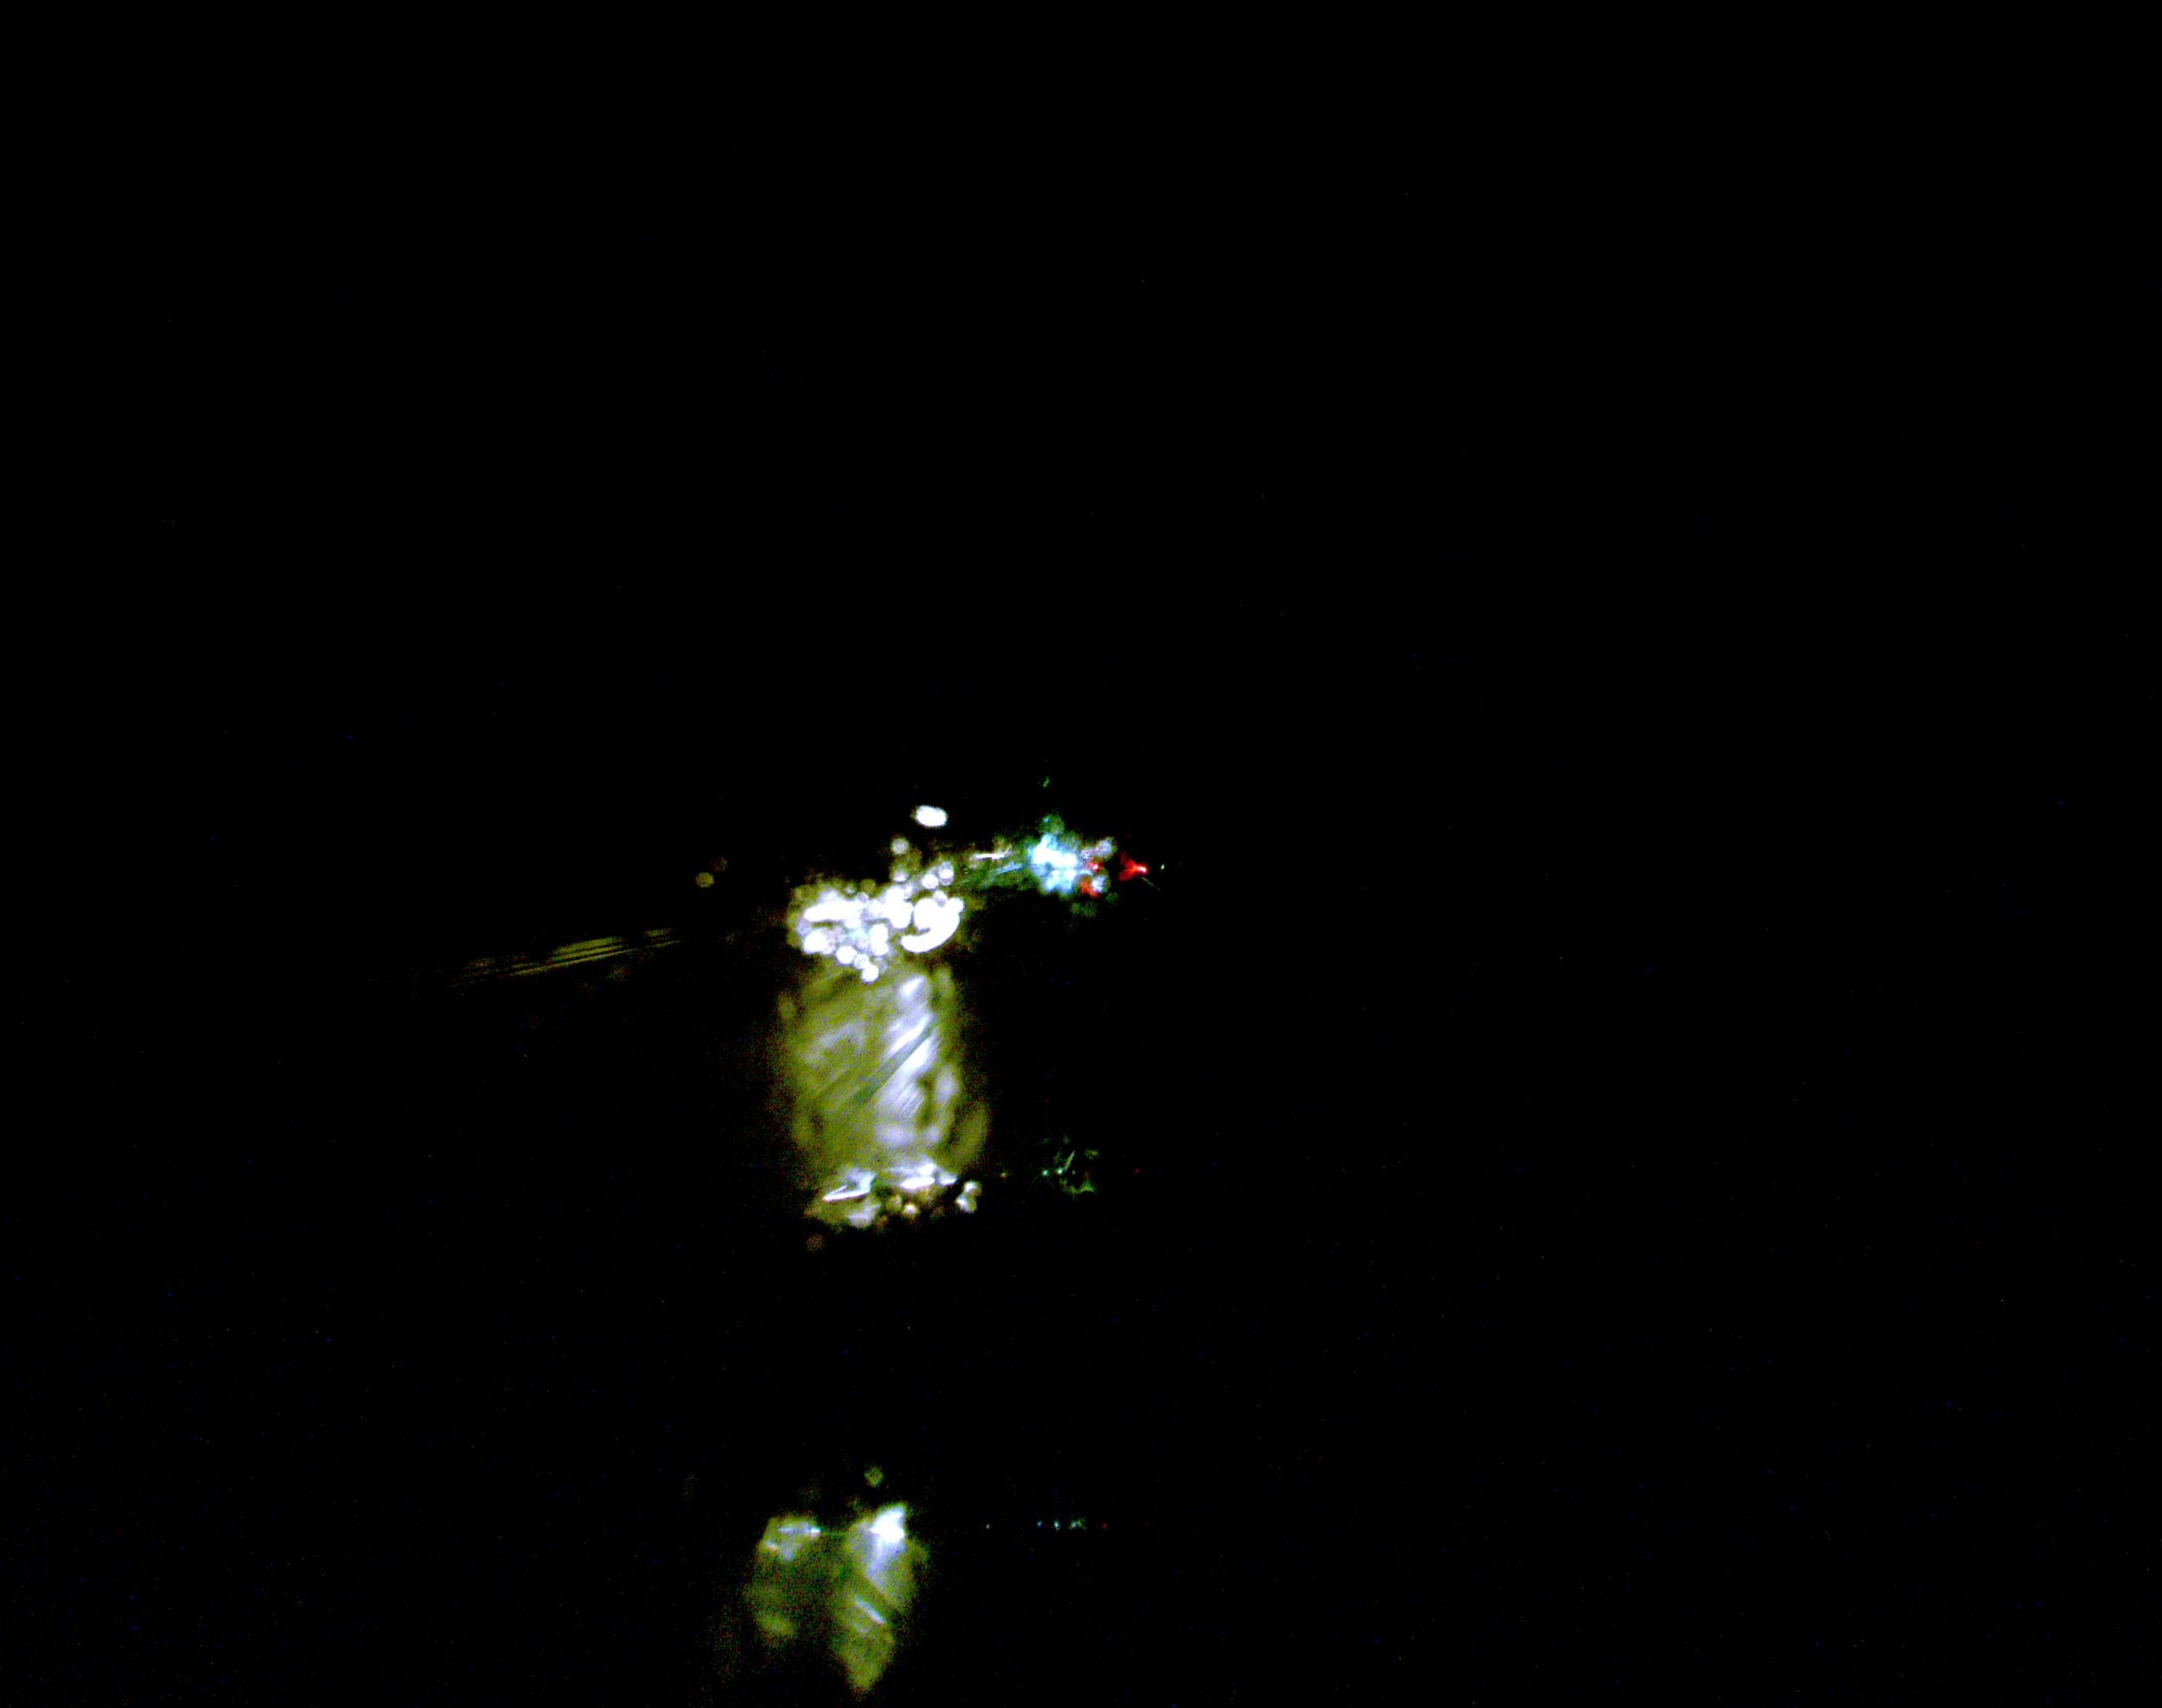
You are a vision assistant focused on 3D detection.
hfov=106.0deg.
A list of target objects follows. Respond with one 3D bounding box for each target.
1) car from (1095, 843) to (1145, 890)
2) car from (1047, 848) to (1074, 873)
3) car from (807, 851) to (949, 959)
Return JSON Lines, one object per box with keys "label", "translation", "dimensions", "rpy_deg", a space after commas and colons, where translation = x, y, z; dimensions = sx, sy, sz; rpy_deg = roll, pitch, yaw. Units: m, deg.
{"label": "car", "translation": [1.661, 0.497, 35.477], "dimensions": [1.986, 1.806, 3.919], "rpy_deg": [-1, 2, 2]}
{"label": "car", "translation": [-1.633, 0.475, 66.343], "dimensions": [1.987, 1.781, 4.001], "rpy_deg": [-3, 2, 0]}
{"label": "car", "translation": [-3.544, 0.815, 14.874], "dimensions": [1.629, 1.581, 3.744], "rpy_deg": [-1, 2, 0]}
